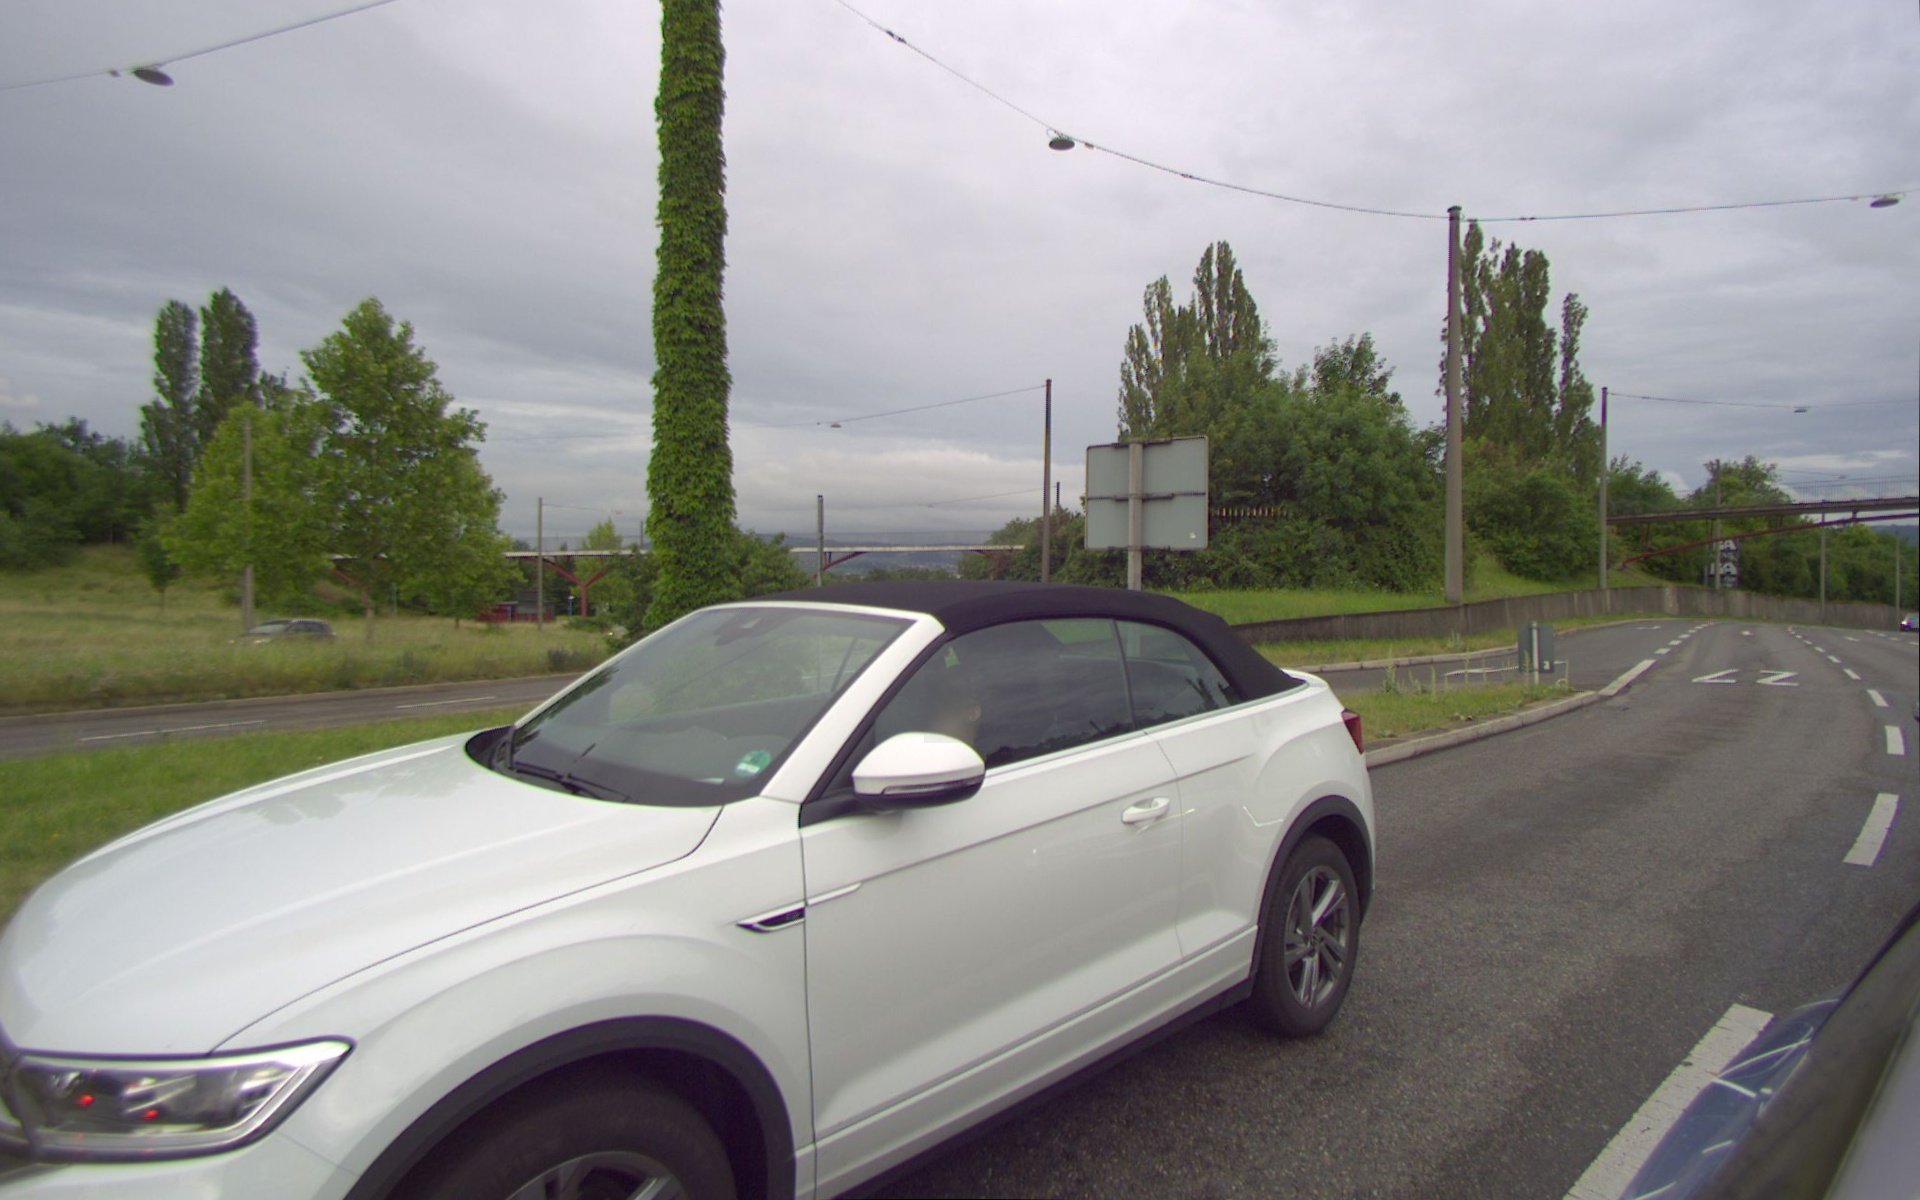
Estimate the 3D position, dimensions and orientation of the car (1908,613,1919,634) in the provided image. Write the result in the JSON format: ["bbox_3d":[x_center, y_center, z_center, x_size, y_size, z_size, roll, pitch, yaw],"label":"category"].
[{"bbox_3d":[79.695,1.925,83.279,3.928,1.700,1.910,1,-3,-40],"label":"car"}]

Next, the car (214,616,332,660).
[{"bbox_3d":[-27.843,1.519,41.193,1.964,1.556,3.957,0,1,4],"label":"car"}]

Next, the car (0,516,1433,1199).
[{"bbox_3d":[-0.246,0.655,3.114,4.160,1.572,1.714,-1,1,-44],"label":"car"}]

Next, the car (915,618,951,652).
[{"bbox_3d":[-1.530,2.004,58.335,1.961,1.872,4.823,-1,-2,-1],"label":"car"}]

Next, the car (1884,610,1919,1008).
[{"bbox_3d":[5.490,0.729,4.175,4.060,1.385,1.894,-1,1,-39],"label":"car"}]
